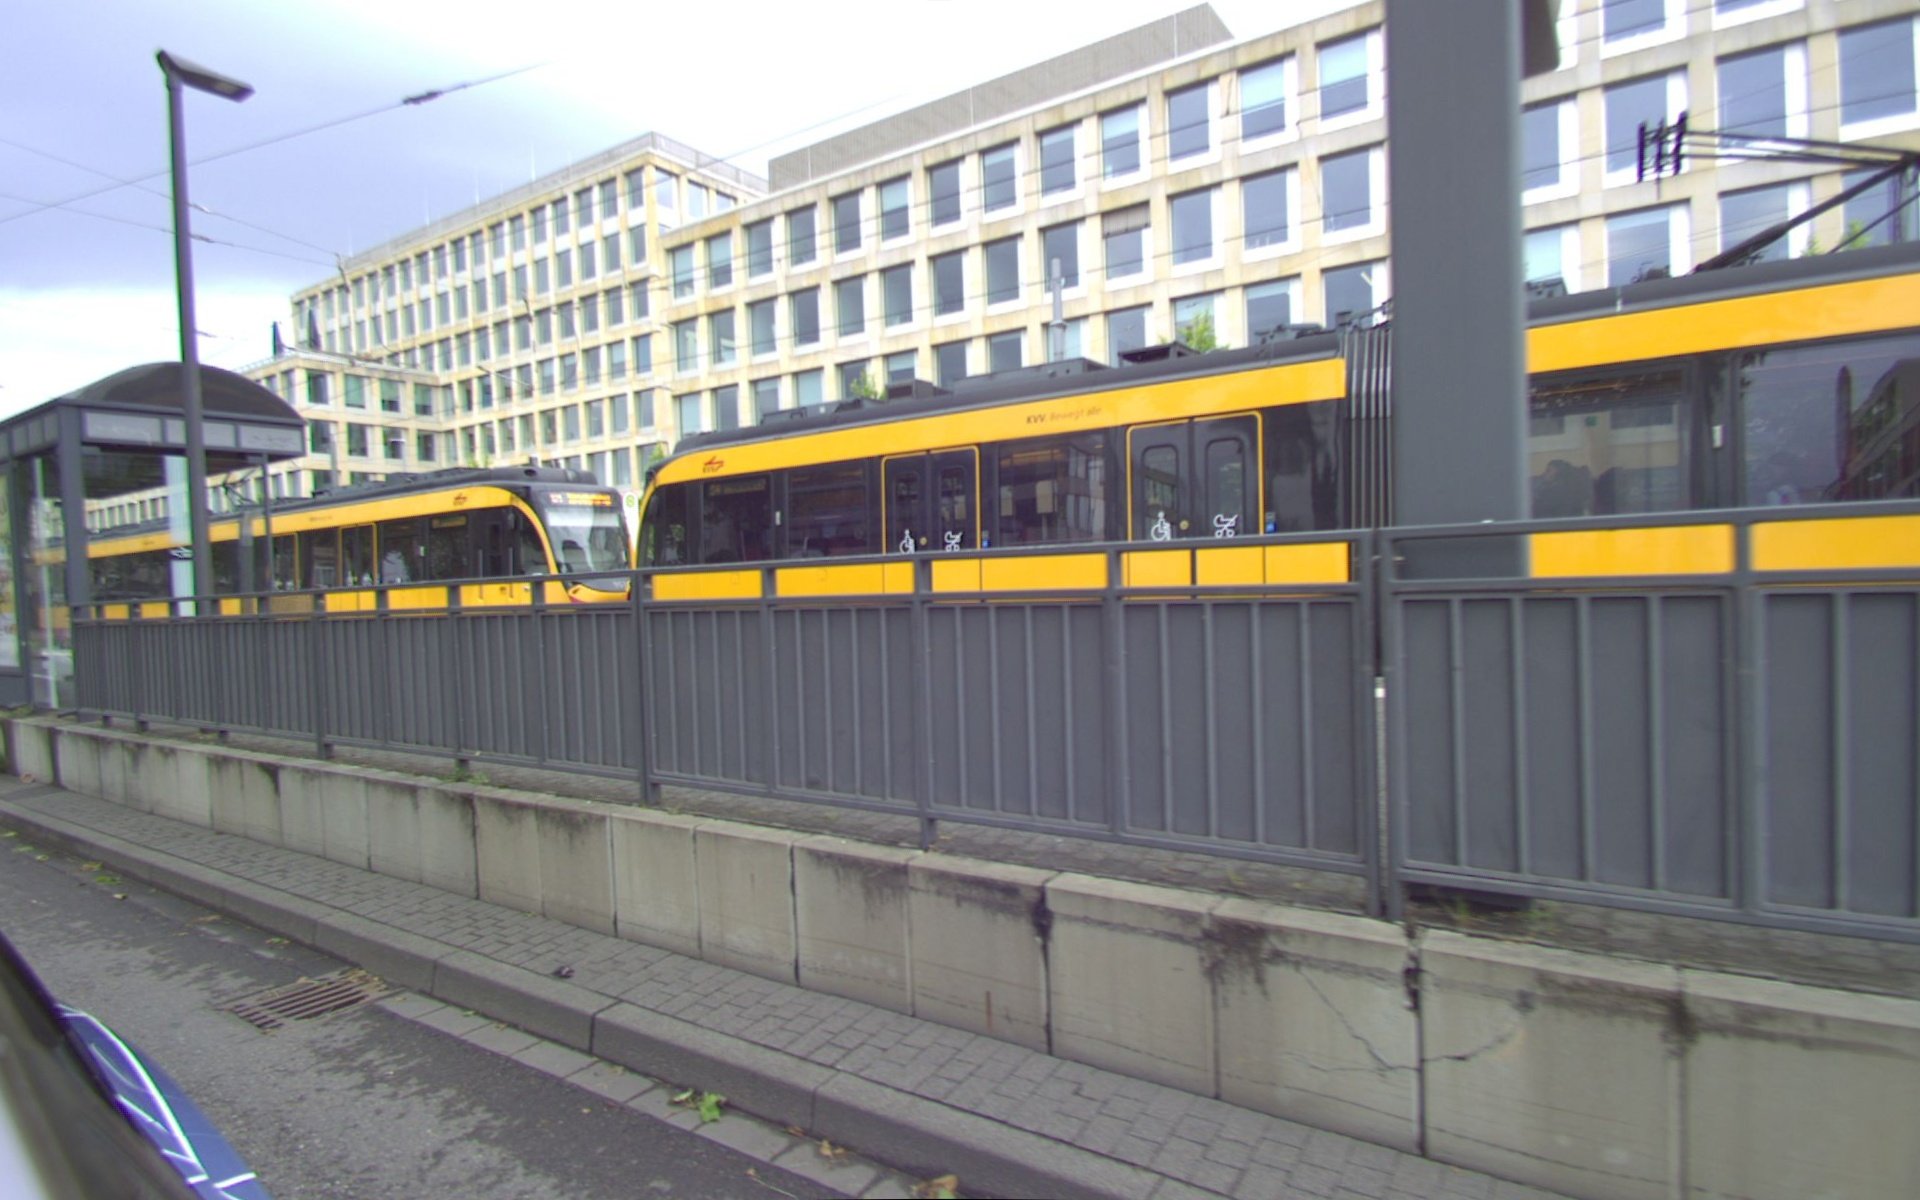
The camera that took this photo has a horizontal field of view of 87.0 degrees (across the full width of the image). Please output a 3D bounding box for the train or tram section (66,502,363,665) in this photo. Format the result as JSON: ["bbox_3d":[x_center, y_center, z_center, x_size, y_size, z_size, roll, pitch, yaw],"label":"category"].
[{"bbox_3d":[-21.453,-0.383,28.755,11.282,3.890,3.138,-1,2,34],"label":"train or tram section"}]

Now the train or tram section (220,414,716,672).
[{"bbox_3d":[-11.176,-0.904,21.727,13.585,4.210,3.154,-1,2,34],"label":"train or tram section"}]

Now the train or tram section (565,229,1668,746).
[{"bbox_3d":[0.541,-0.876,13.714,14.696,4.210,3.154,-1,2,34],"label":"train or tram section"}]

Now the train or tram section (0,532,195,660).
[{"bbox_3d":[-30.821,-0.116,35.184,11.282,3.890,3.211,-1,2,34],"label":"train or tram section"}]

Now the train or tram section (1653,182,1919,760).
[{"bbox_3d":[12.675,-1.060,5.398,14.696,4.210,3.154,-1,2,34],"label":"train or tram section"}]
